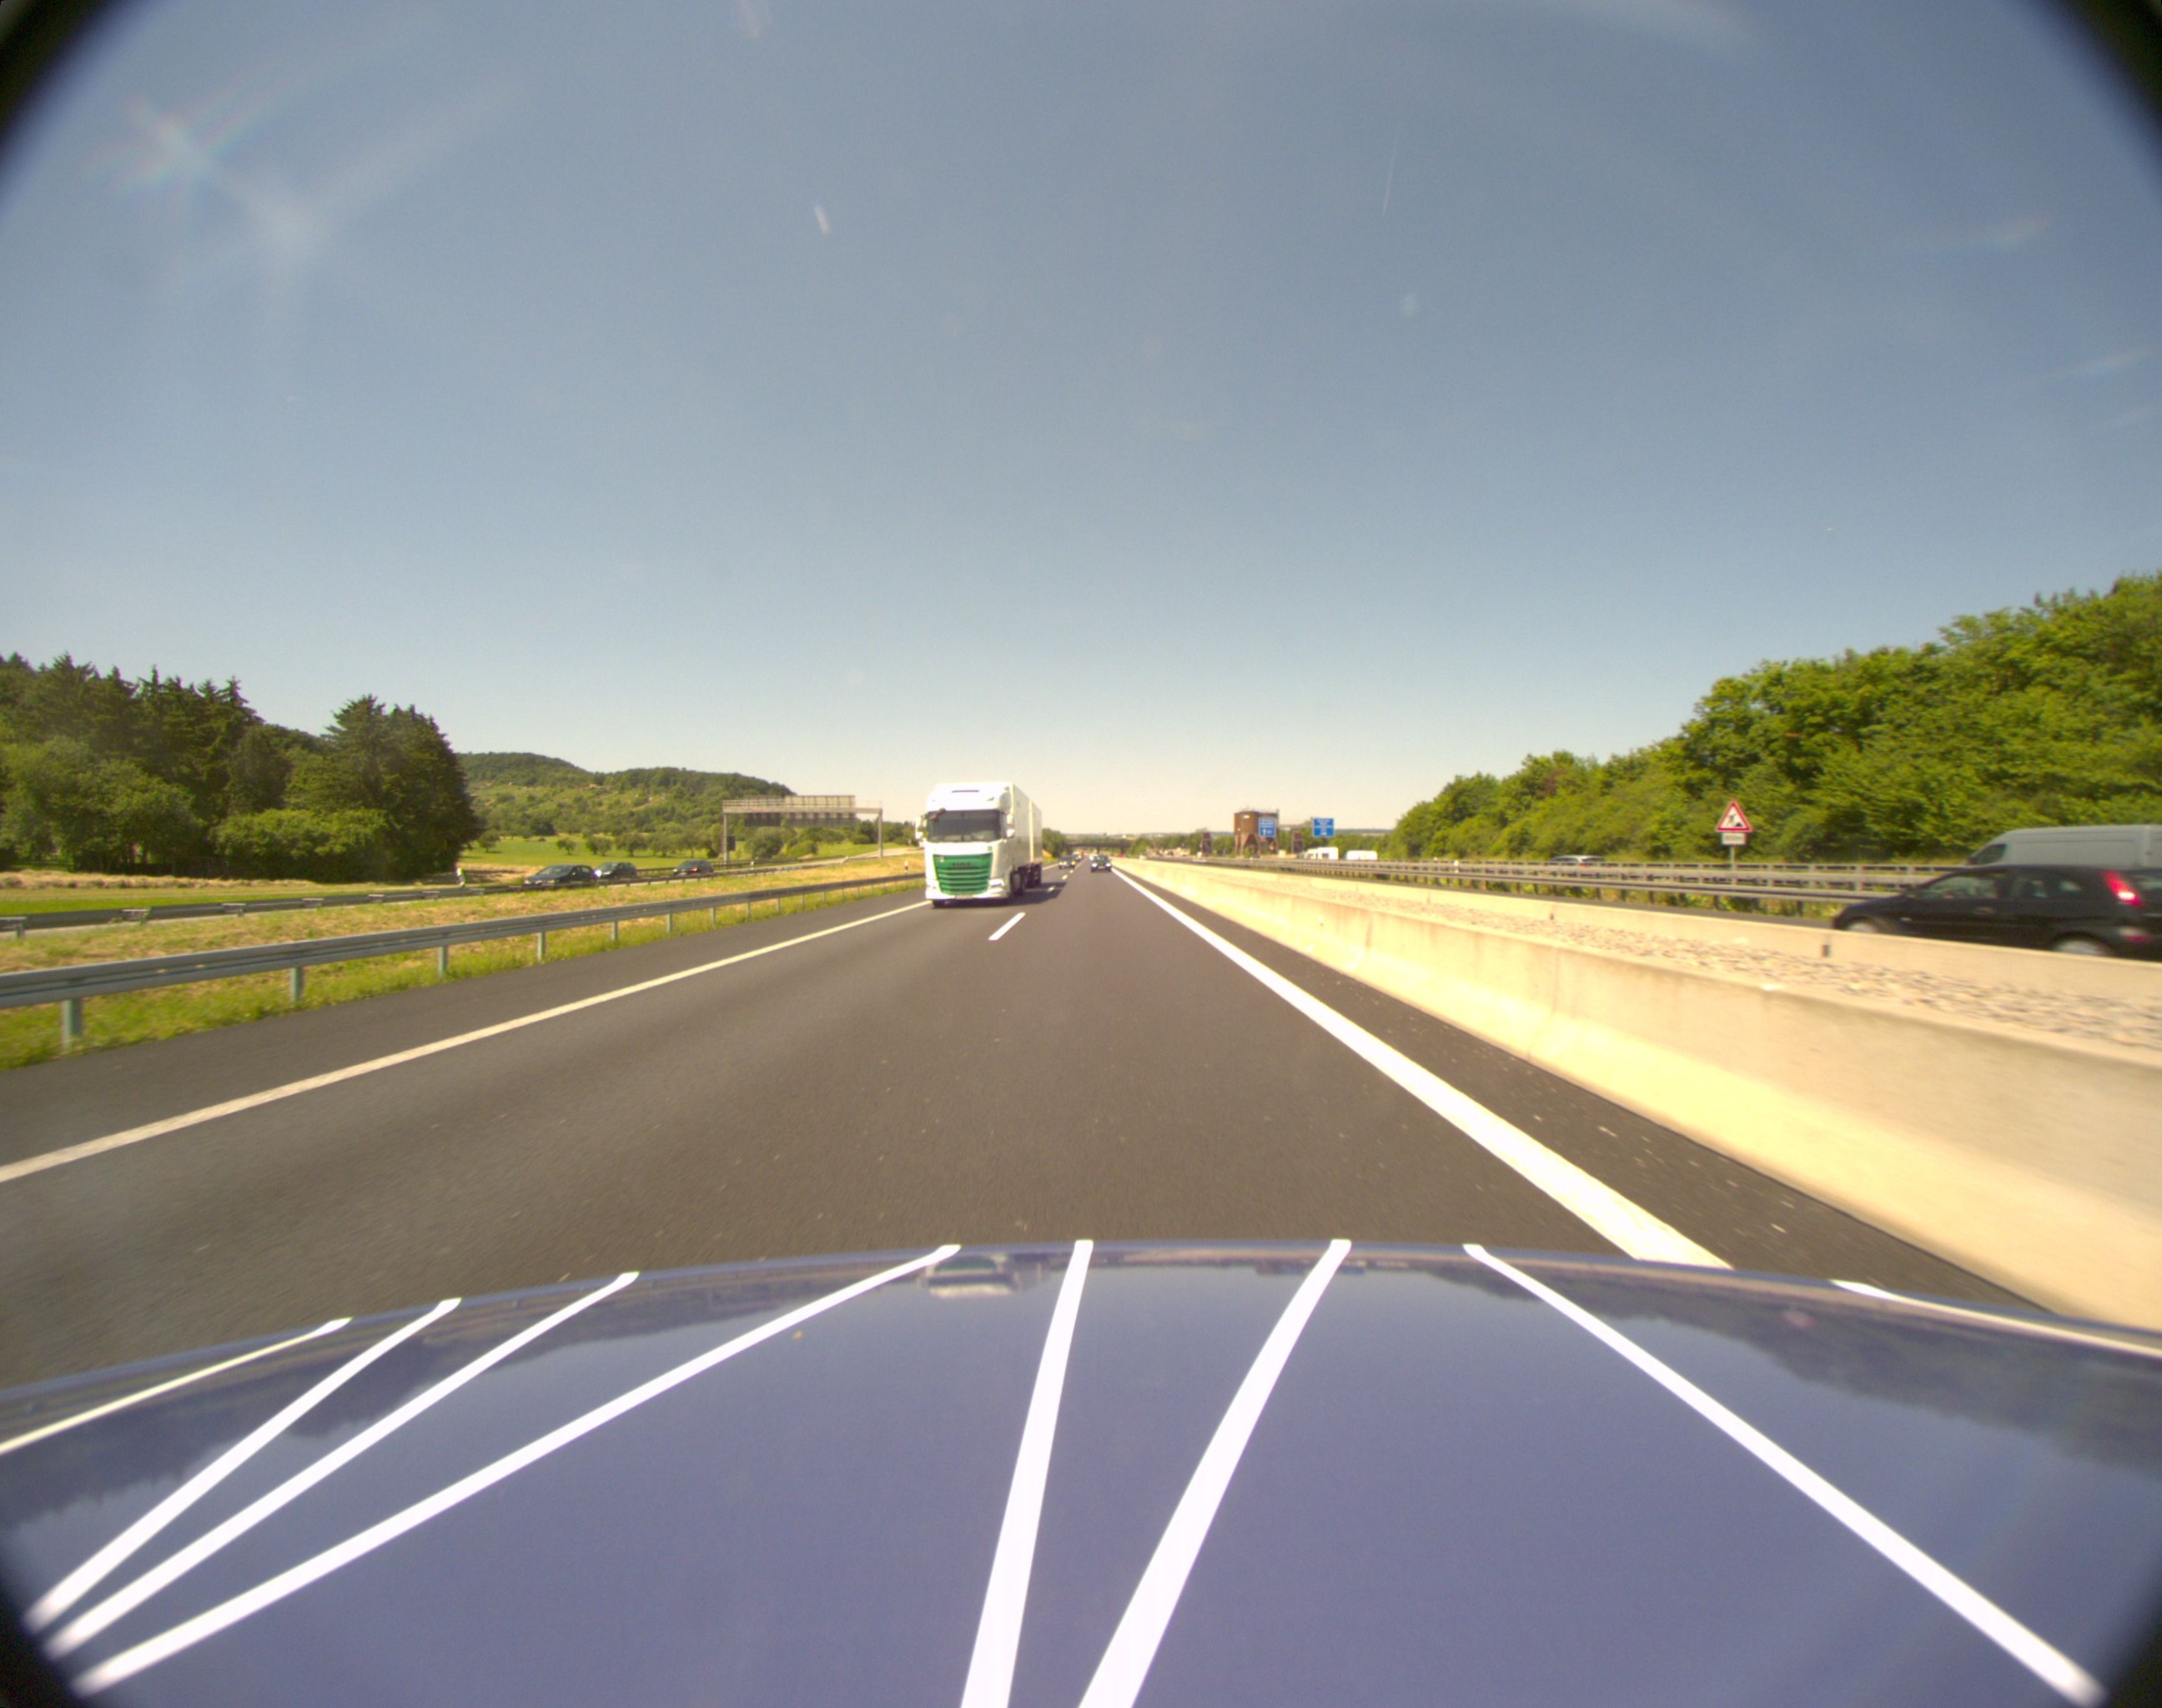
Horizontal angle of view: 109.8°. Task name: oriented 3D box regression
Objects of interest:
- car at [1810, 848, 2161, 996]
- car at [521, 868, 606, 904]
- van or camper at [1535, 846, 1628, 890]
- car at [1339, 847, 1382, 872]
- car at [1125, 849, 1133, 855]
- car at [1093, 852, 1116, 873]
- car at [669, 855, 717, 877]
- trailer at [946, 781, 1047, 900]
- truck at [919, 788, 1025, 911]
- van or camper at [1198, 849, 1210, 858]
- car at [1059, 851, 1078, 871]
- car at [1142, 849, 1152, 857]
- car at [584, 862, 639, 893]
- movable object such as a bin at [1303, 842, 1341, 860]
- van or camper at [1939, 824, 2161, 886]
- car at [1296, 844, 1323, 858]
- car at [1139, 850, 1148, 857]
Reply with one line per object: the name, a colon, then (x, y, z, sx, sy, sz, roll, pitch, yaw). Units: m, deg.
car: (12.573, 0.718, 10.117, 1.838, 1.525, 4.159, -1, 1, 2)
car: (-23.984, 1.441, 35.388, 1.782, 1.392, 3.757, -3, 1, -9)
van or camper: (24.888, 0.625, 37.942, 1.998, 2.002, 3.999, -2, 1, 1)
car: (25.409, 0.466, 69.344, 1.998, 2.002, 5.348, -2, 1, 1)
car: (12.586, -0.422, 198.092, 1.799, 1.586, 4.307, -1, 0, -1)
car: (1.962, 0.717, 64.972, 1.799, 1.574, 3.999, -2, 1, 0)
car: (-29.489, 0.904, 57.888, 1.892, 1.464, 3.864, -2, 1, -6)
trailer: (-3.339, -0.547, 34.567, 2.663, 4.164, 14.893, -2, 1, 1)
truck: (-3.417, -0.169, 24.900, 2.649, 3.572, 4.403, -2, 1, 0)
van or camper: (31.476, -0.124, 195.002, 2.112, 2.242, 6.966, -2, 1, 1)
car: (-1.359, 0.746, 84.594, 1.998, 2.002, 3.999, -2, 1, 1)
car: (20.734, -0.222, 239.192, 2.803, 2.487, 5.963, 1, 0, 1)
car: (-33.715, 1.671, 54.731, 2.000, 2.002, 3.996, -3, 1, -11)
movable object such as a bin: (29.854, -0.374, 94.258, 2.513, 2.002, 6.778, -2, 1, 0)
van or camper: (32.050, -0.002, 24.792, 1.998, 1.788, 5.529, -1, 0, 2)
car: (30.002, -0.462, 100.042, 1.999, 1.795, 4.815, 0, 1, -1)
car: (16.180, -0.228, 198.243, 1.998, 1.831, 5.084, 1, 0, 1)
